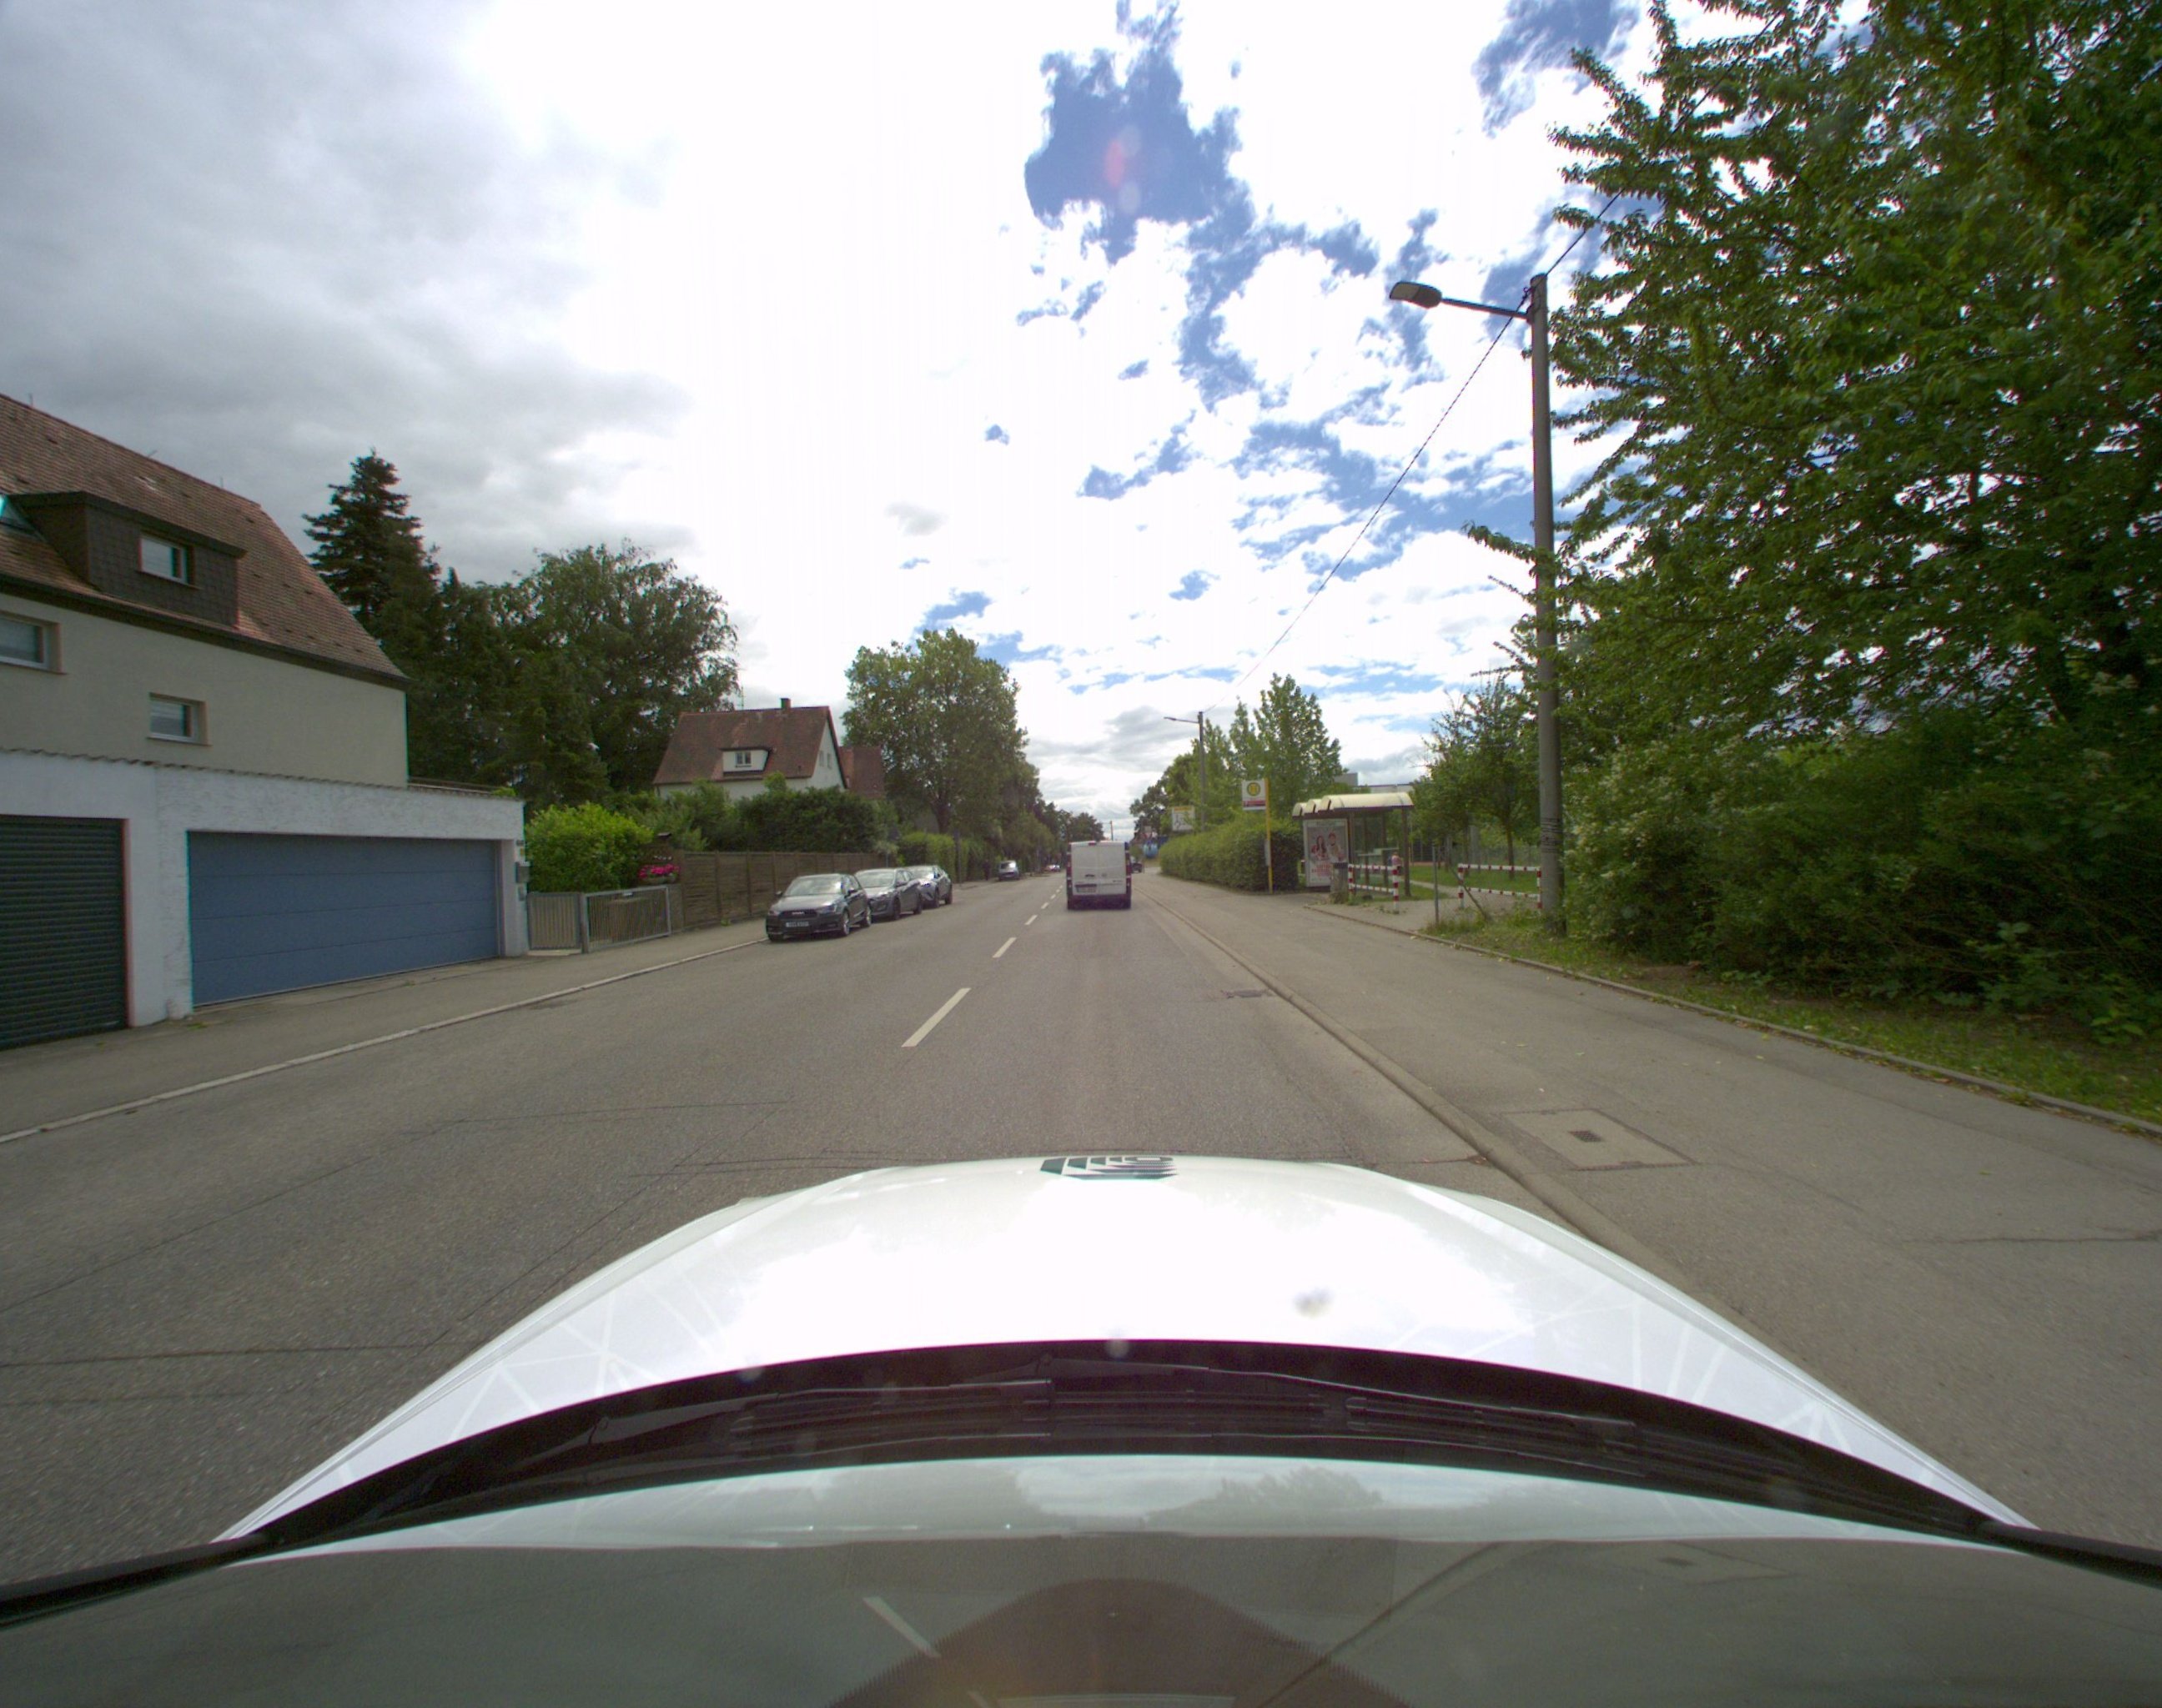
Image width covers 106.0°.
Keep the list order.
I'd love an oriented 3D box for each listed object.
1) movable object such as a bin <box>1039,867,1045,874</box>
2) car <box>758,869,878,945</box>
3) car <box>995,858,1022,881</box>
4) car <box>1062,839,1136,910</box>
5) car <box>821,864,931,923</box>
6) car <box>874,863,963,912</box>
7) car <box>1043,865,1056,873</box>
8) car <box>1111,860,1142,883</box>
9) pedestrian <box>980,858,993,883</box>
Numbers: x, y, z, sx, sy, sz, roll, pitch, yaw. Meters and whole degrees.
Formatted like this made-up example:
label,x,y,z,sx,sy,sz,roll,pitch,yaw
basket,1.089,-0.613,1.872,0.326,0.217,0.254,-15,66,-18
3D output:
label,x,y,z,sx,sy,sz,roll,pitch,yaw
movable object such as a bin,-5.351,2.227,110.731,0.626,0.863,0.642,-4,-1,11
car,-6.083,1.159,19.285,1.647,1.427,3.902,-3,0,-3
car,-6.103,1.274,68.561,2.130,1.772,4.454,-1,0,-7
car,0.512,0.560,25.089,2.028,1.945,4.993,-1,0,0
car,-5.919,1.100,24.096,1.859,1.459,4.492,-3,0,3
car,-5.808,1.167,29.729,1.985,1.479,4.651,-4,0,3
car,-6.216,2.839,158.215,2.062,1.386,4.035,-2,0,-9
car,4.404,1.652,78.083,1.978,2.013,4.018,-1,0,18
pedestrian,-7.912,1.404,68.178,0.870,2.013,1.039,-4,-1,-4
